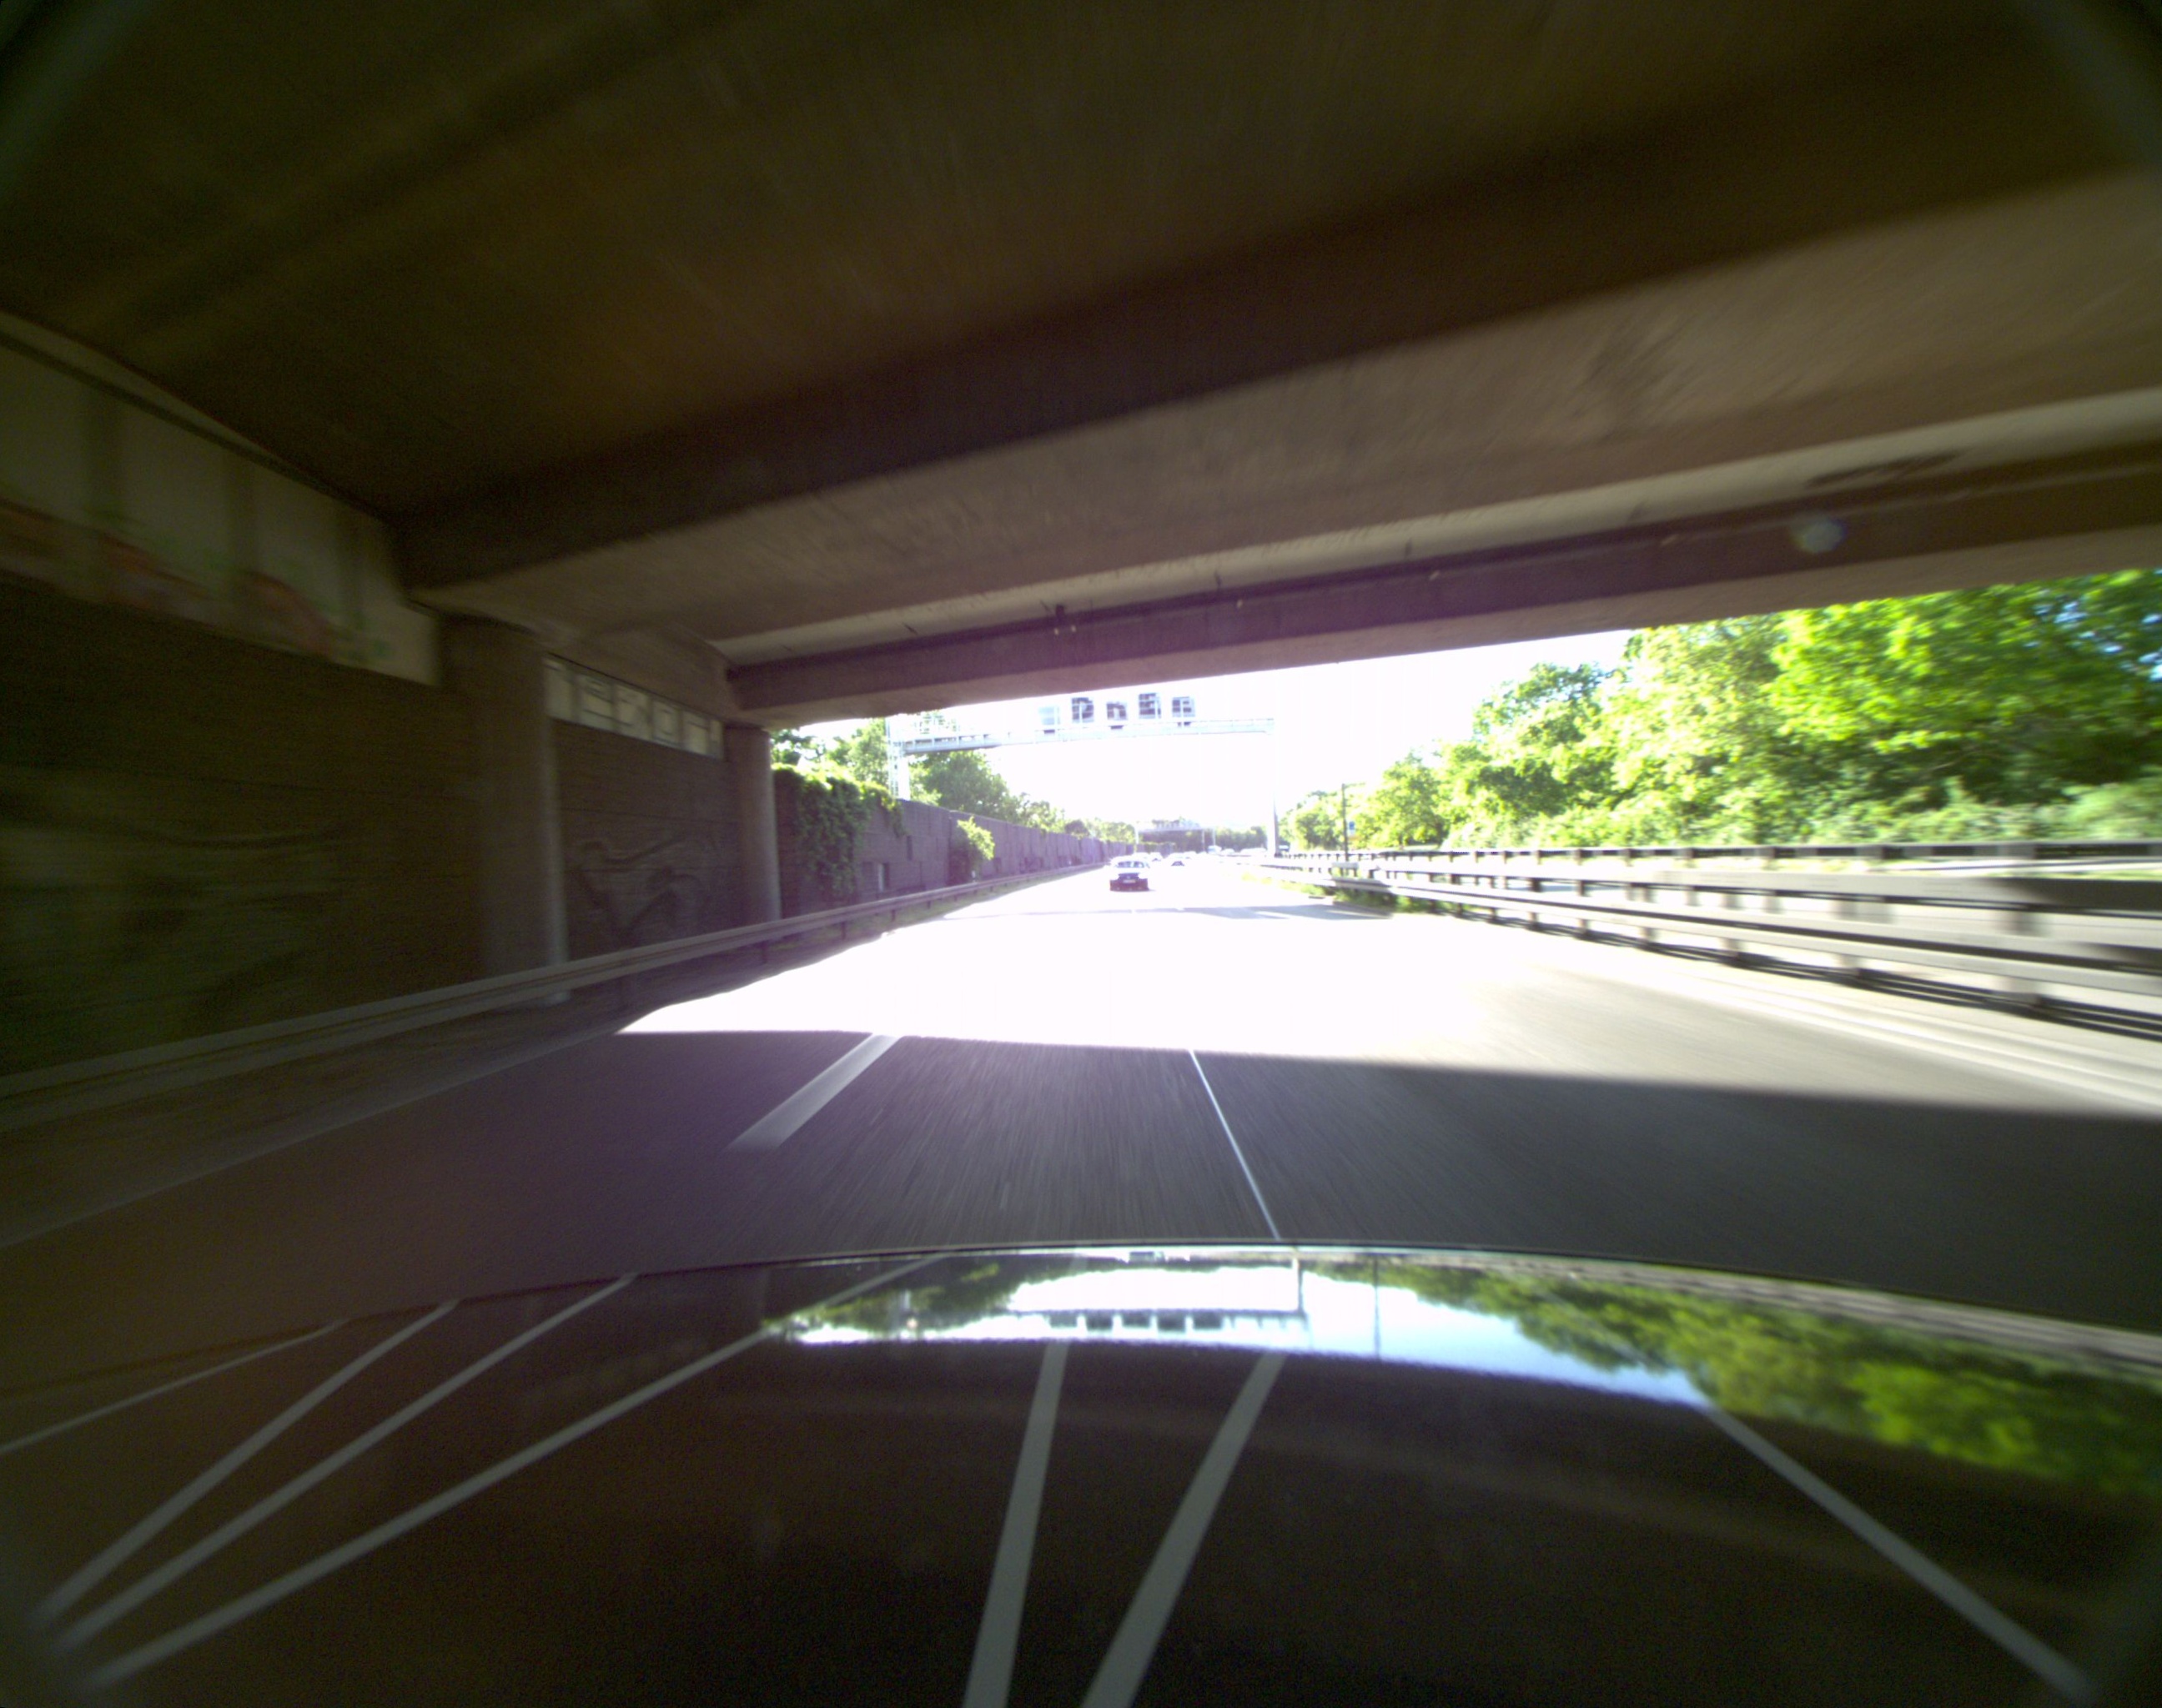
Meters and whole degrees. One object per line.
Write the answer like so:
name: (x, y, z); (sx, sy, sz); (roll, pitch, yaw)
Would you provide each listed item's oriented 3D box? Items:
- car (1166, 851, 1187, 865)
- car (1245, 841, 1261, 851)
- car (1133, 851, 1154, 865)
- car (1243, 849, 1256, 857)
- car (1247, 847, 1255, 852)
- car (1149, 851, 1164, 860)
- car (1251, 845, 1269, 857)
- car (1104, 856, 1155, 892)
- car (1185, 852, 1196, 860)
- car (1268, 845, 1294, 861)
car: (10.675, 0.476, 85.042); (1.998, 1.406, 4.832); (-3, 0, 5)
car: (29.354, -1.358, 129.795); (1.997, 1.631, 5.030); (-3, 0, 7)
car: (6.804, 0.385, 82.694); (1.997, 1.406, 4.833); (-3, 0, 7)
car: (33.965, -0.238, 153.241); (1.997, 1.469, 4.723); (-3, 0, 7)
car: (47.384, -1.296, 211.324); (1.997, 1.406, 4.835); (-3, 0, 12)
car: (13.186, 0.240, 131.917); (1.997, 1.406, 4.835); (-3, 0, 12)
car: (25.250, -0.400, 107.341); (1.997, 1.631, 4.723); (-3, 0, 7)
car: (2.269, 0.857, 34.252); (1.997, 1.406, 4.833); (-2, 0, 6)
car: (21.810, 0.384, 151.315); (1.997, 1.406, 4.834); (-3, 0, 11)
car: (22.337, -0.088, 85.002); (1.997, 1.631, 4.723); (-3, 0, 7)
